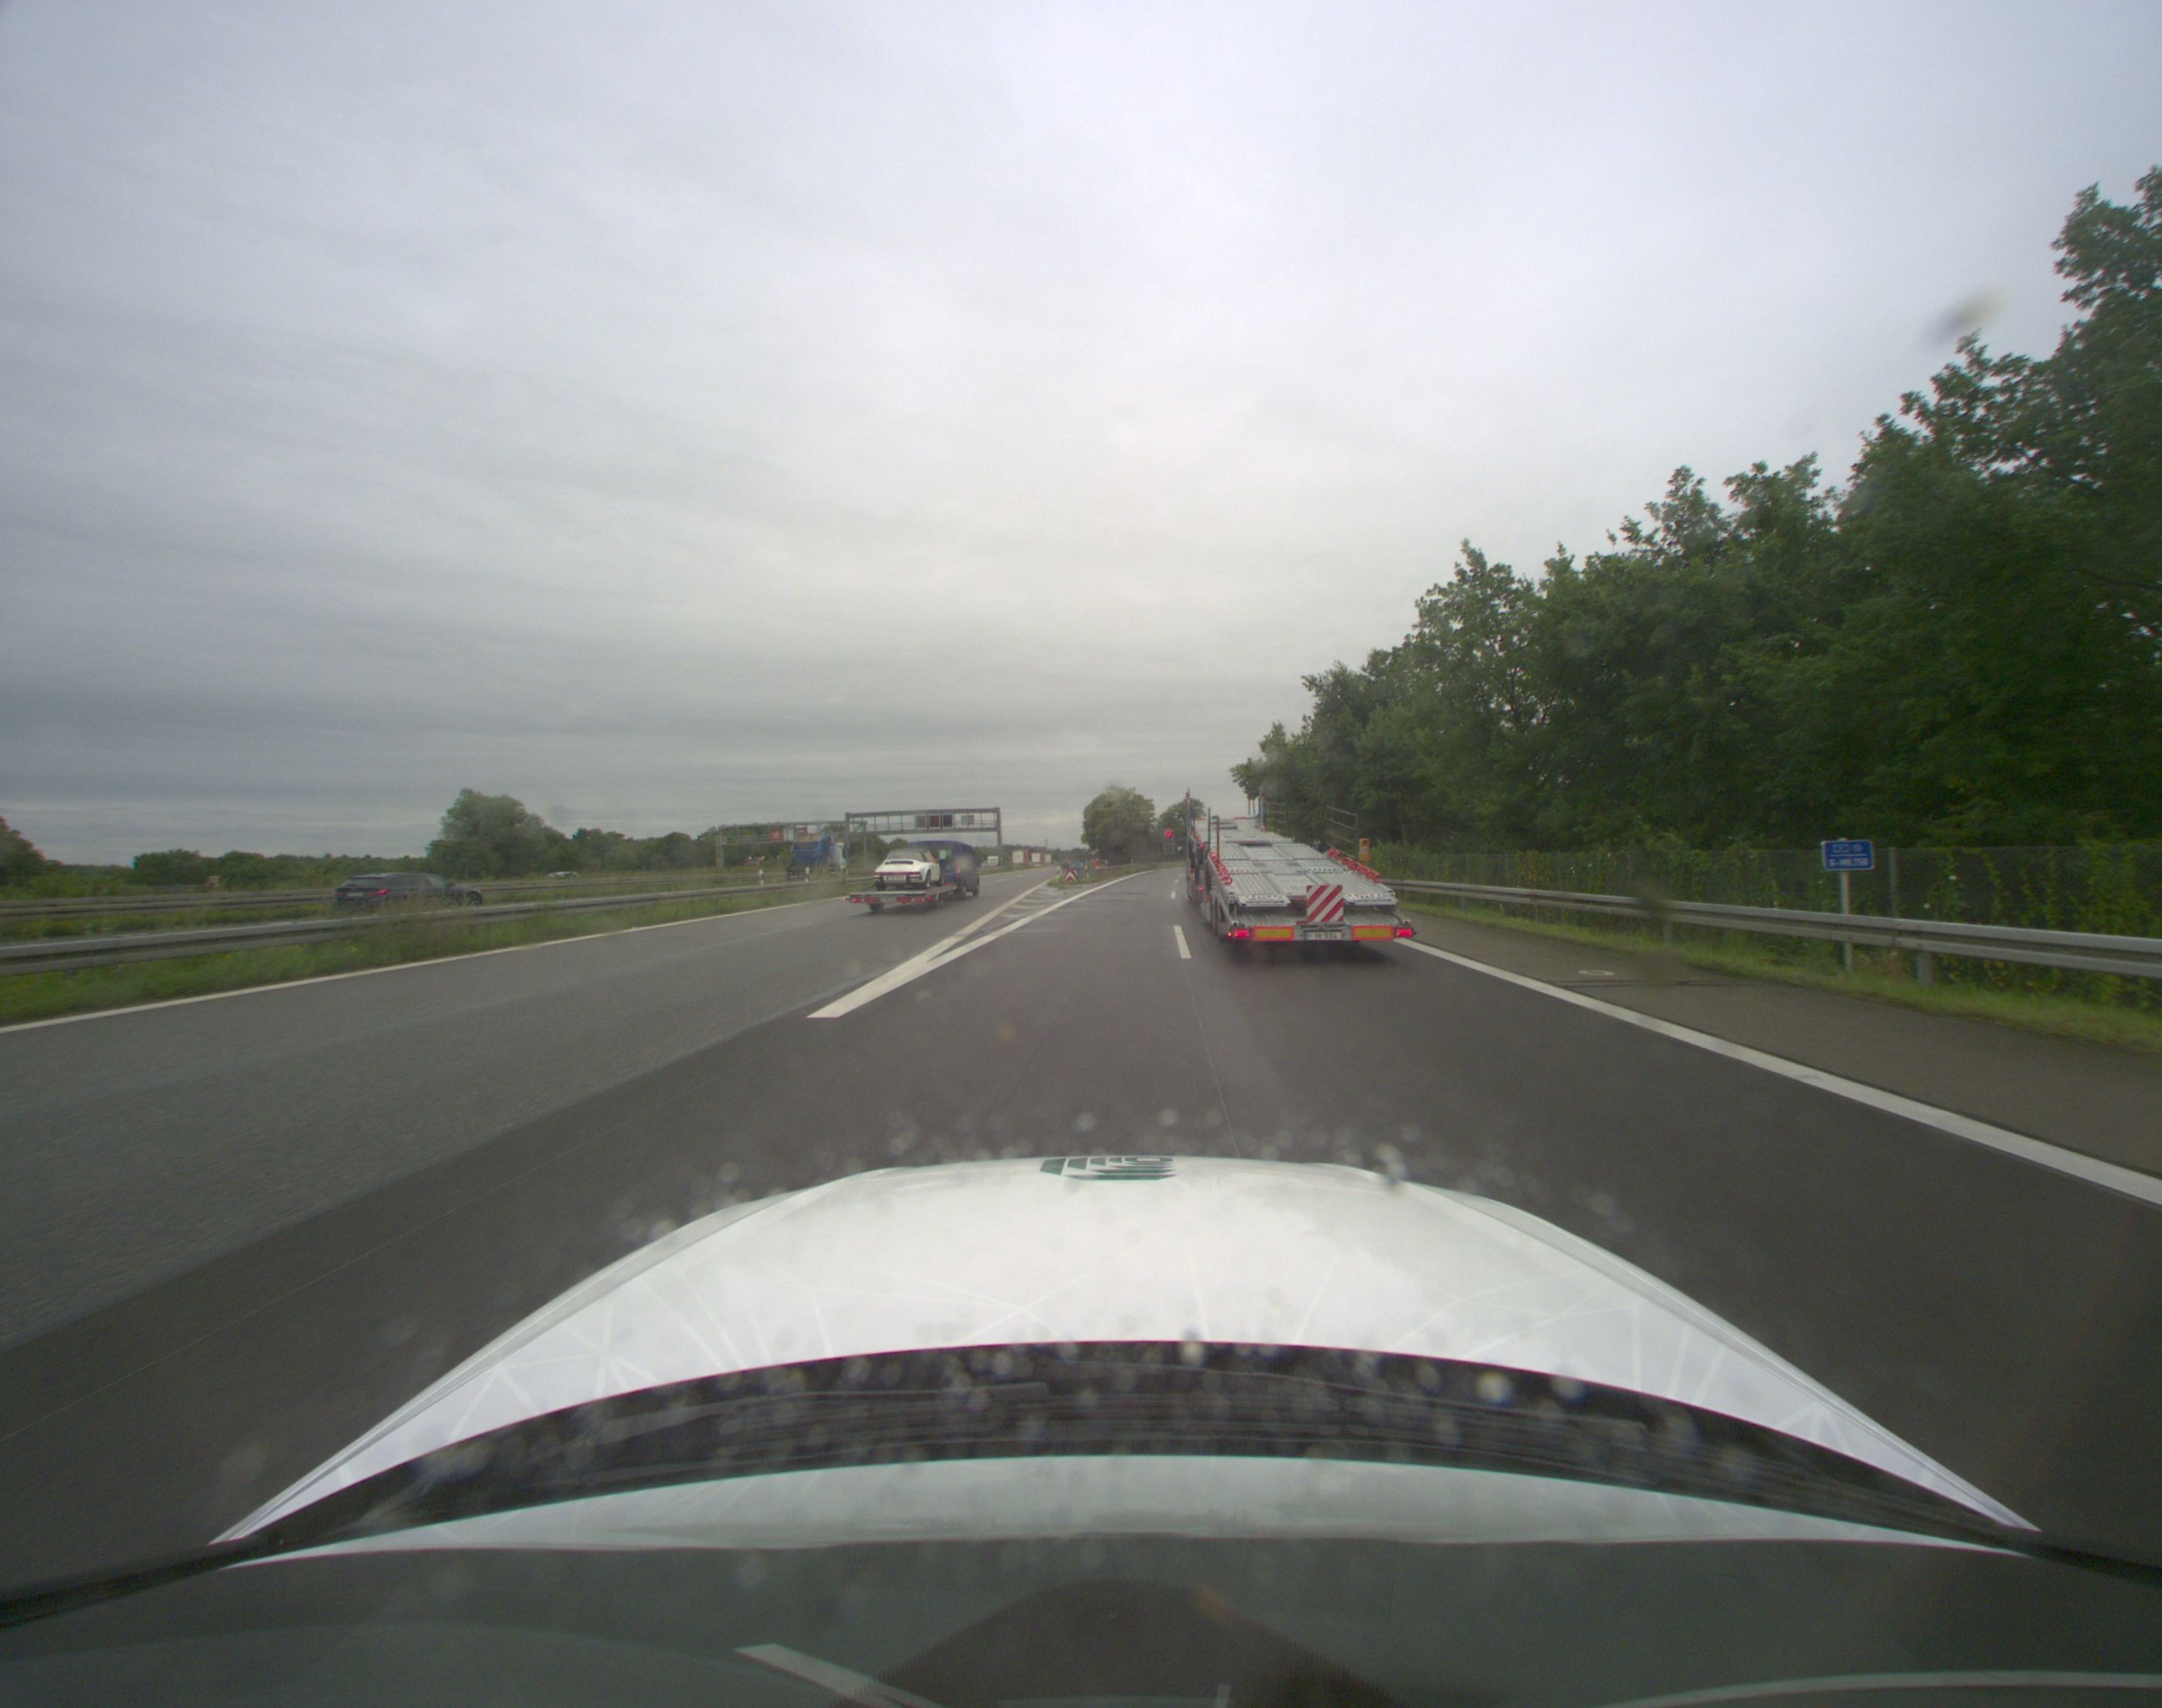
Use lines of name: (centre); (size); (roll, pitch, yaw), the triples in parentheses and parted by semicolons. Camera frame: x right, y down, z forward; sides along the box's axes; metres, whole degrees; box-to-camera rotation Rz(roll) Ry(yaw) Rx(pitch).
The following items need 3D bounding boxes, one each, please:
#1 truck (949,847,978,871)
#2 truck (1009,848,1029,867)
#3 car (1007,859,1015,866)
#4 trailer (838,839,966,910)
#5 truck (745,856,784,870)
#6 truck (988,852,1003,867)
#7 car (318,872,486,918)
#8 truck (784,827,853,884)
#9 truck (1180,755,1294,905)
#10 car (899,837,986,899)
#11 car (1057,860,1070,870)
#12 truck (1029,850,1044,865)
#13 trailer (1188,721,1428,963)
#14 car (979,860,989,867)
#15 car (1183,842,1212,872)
truck: (-17.339, 0.679, 120.624); (2.847, 3.365, 8.632); (-1, 0, 1)
truck: (-14.991, 0.775, 197.821); (3.720, 4.417, 10.196); (0, 0, 1)
car: (-18.878, 2.343, 220.813); (1.724, 2.014, 4.000); (0, -1, 1)
trailer: (-5.515, 0.595, 26.362); (2.476, 1.994, 7.063); (0, 0, 1)
truck: (-48.418, 1.376, 124.826); (1.985, 2.014, 8.820); (0, -1, 3)
truck: (-16.164, 1.075, 153.788); (2.235, 2.704, 5.280); (0, 0, 1)
car: (-23.057, 1.338, 27.955); (1.798, 1.391, 4.773); (0, -1, -1)
truck: (-18.697, 0.141, 58.505); (2.630, 3.812, 7.340); (0, -1, -1)
truck: (4.675, -0.648, 26.144); (2.725, 3.967, 9.142); (1, 0, 5)
car: (-5.451, 0.527, 32.995); (2.364, 2.266, 6.257); (0, 0, 1)
car: (-3.010, 1.961, 142.191); (1.954, 1.637, 5.625); (0, -1, 1)
truck: (-13.383, 0.920, 246.026); (3.720, 4.417, 11.898); (0, 0, 1)
trailer: (3.772, -0.151, 16.363); (2.764, 3.285, 10.421); (-1, 0, 5)
car: (-20.475, 2.052, 172.445); (1.678, 1.530, 3.997); (0, 0, -1)
car: (9.426, 0.239, 65.416); (2.097, 2.264, 5.913); (-1, 0, 10)
